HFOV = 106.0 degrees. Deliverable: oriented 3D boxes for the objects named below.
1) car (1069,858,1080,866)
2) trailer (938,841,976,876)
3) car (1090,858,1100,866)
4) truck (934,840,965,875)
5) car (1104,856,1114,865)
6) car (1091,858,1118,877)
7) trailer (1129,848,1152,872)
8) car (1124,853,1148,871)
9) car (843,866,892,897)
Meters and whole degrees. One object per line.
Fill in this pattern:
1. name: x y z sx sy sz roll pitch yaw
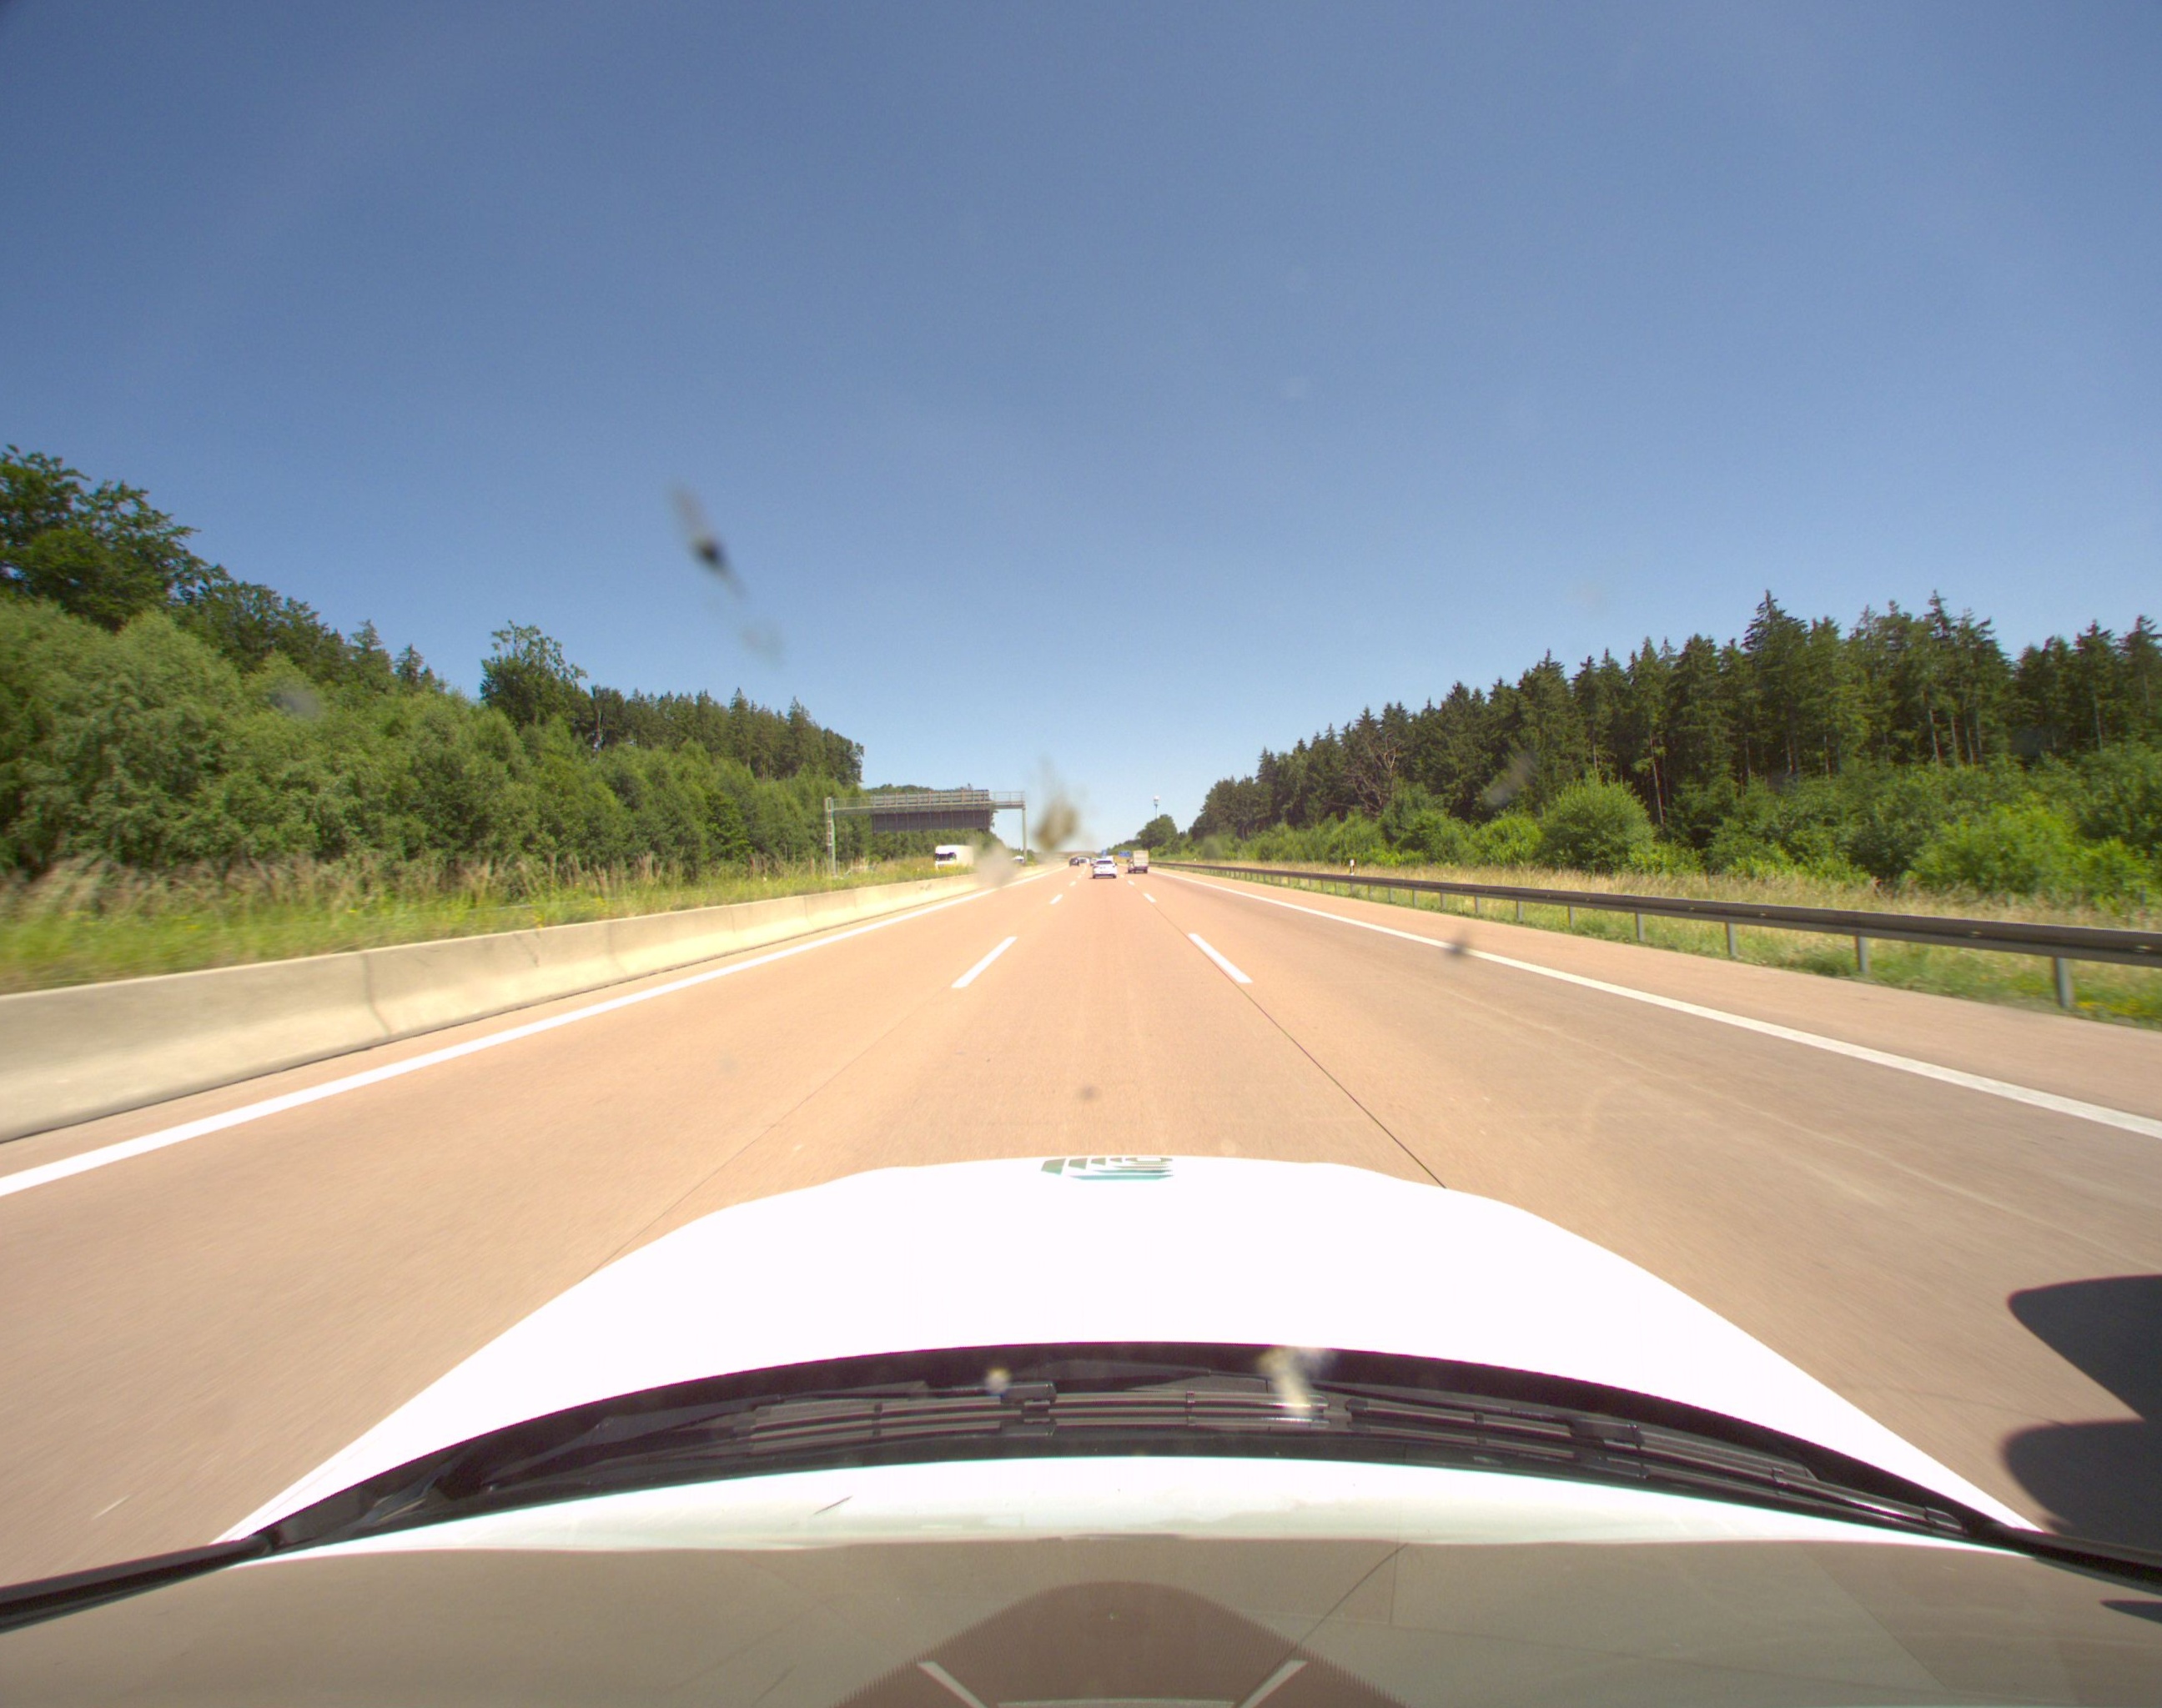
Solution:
1. car: -1.118 1.519 152.952 1.884 1.463 4.002 -1 0 2
2. trailer: -16.761 0.554 111.192 2.693 4.434 13.195 -1 0 1
3. car: 2.753 1.527 157.430 1.885 1.463 4.000 -1 0 0
4. truck: -16.871 0.436 104.725 2.693 4.380 6.480 -1 0 2
5. car: 6.480 1.411 187.515 2.102 2.054 4.002 -1 0 2
6. car: 1.738 0.976 60.306 1.884 1.398 4.001 0 -1 2
7. trailer: 5.501 0.560 75.653 1.653 2.164 4.013 -1 -1 -2
8. car: 5.386 0.773 80.196 1.886 1.728 5.182 -1 -1 -2
9. car: -13.931 1.756 53.425 1.885 1.862 5.101 -1 0 -1
